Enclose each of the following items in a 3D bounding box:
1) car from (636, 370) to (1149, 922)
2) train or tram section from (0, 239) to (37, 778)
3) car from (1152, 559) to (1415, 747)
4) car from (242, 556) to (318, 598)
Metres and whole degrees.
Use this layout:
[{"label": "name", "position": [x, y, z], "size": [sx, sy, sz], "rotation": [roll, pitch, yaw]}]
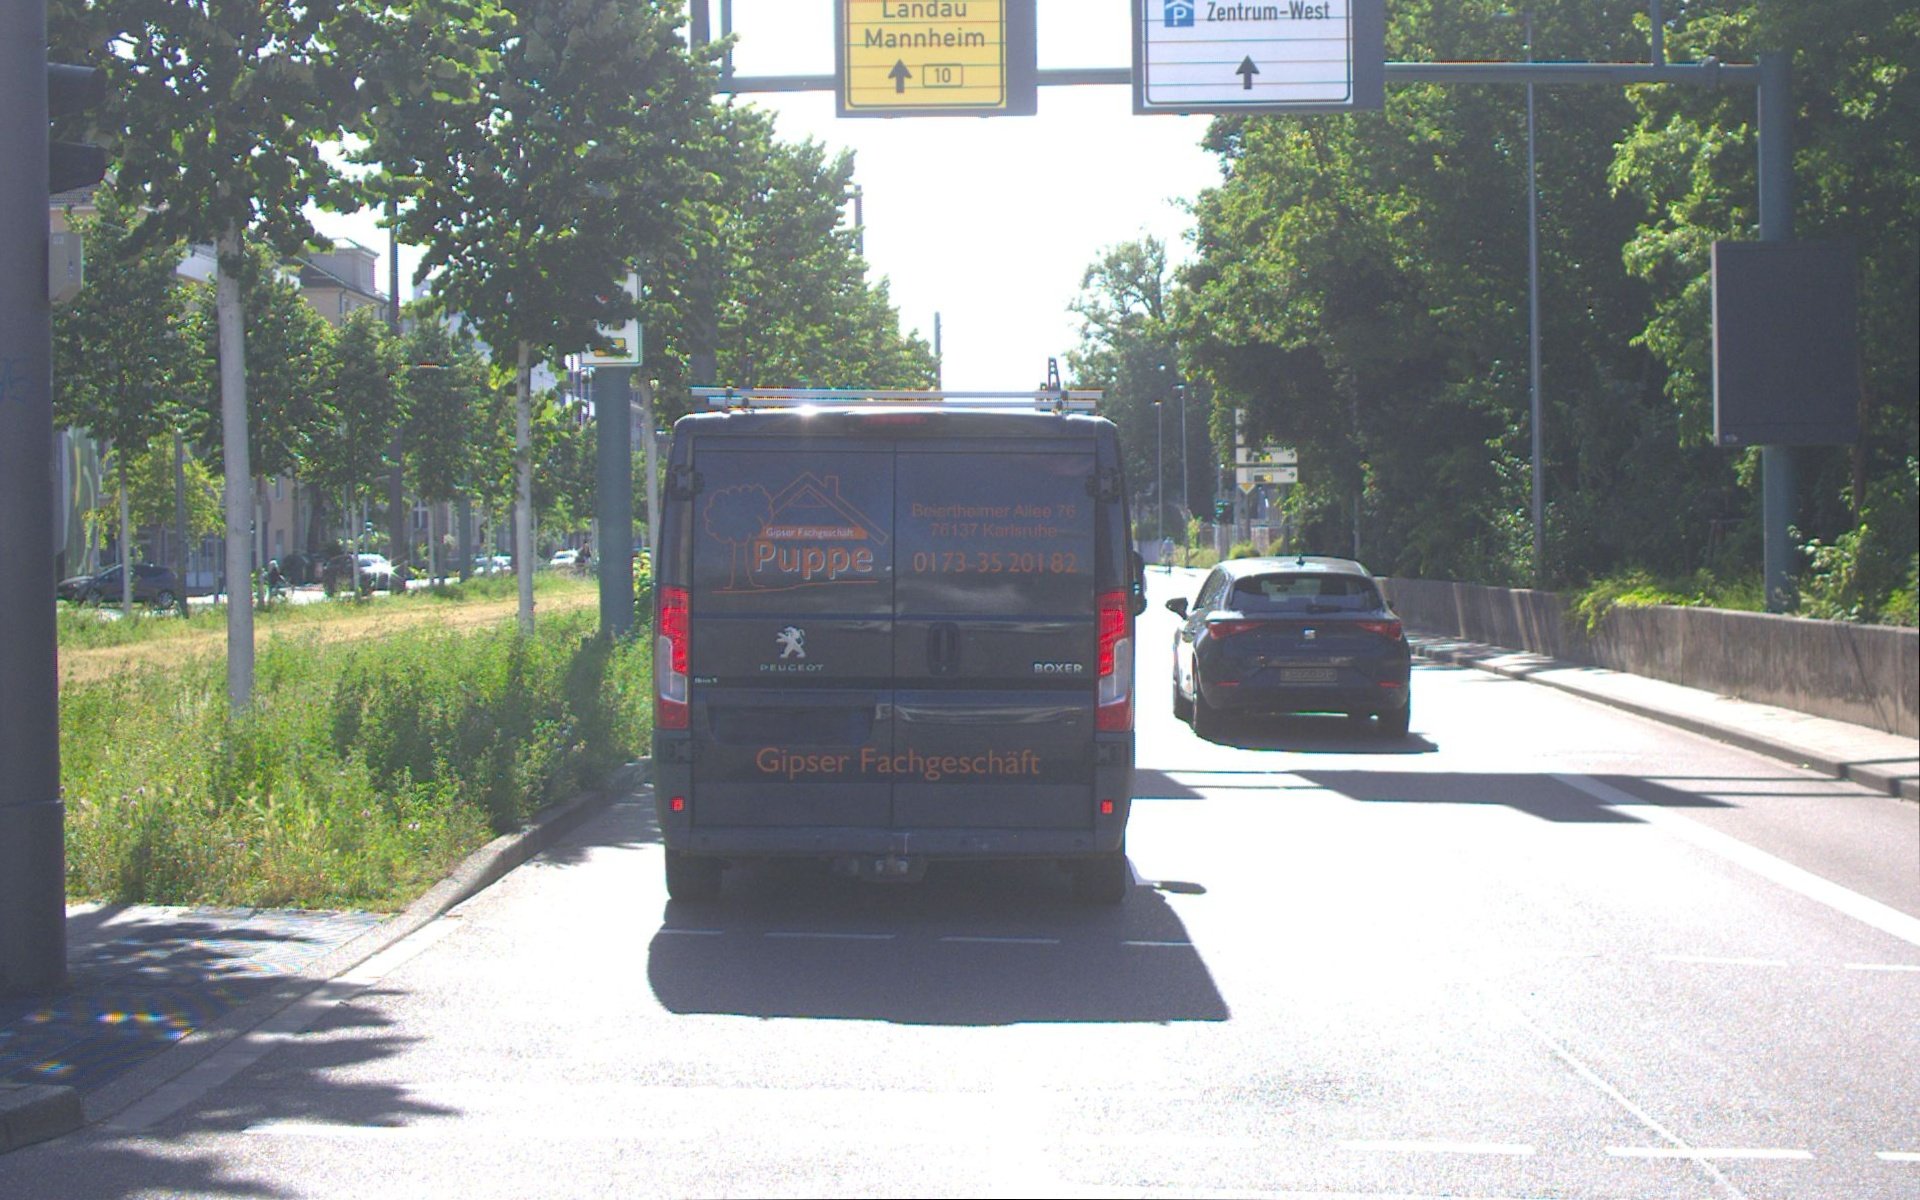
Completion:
[{"label": "car", "position": [-0.265, 0.162, 16.044], "size": [2.082, 2.241, 4.000], "rotation": [0, 1, 0]}, {"label": "train or tram section", "position": [-7.816, -0.555, 18.329], "size": [1.994, 3.656, 11.682], "rotation": [0, 1, 3]}, {"label": "car", "position": [2.657, 0.391, 29.035], "size": [1.763, 1.457, 4.000], "rotation": [0, 1, -1]}, {"label": "car", "position": [-25.957, -0.882, 131.414], "size": [1.993, 1.546, 4.000], "rotation": [0, 1, 2]}]
